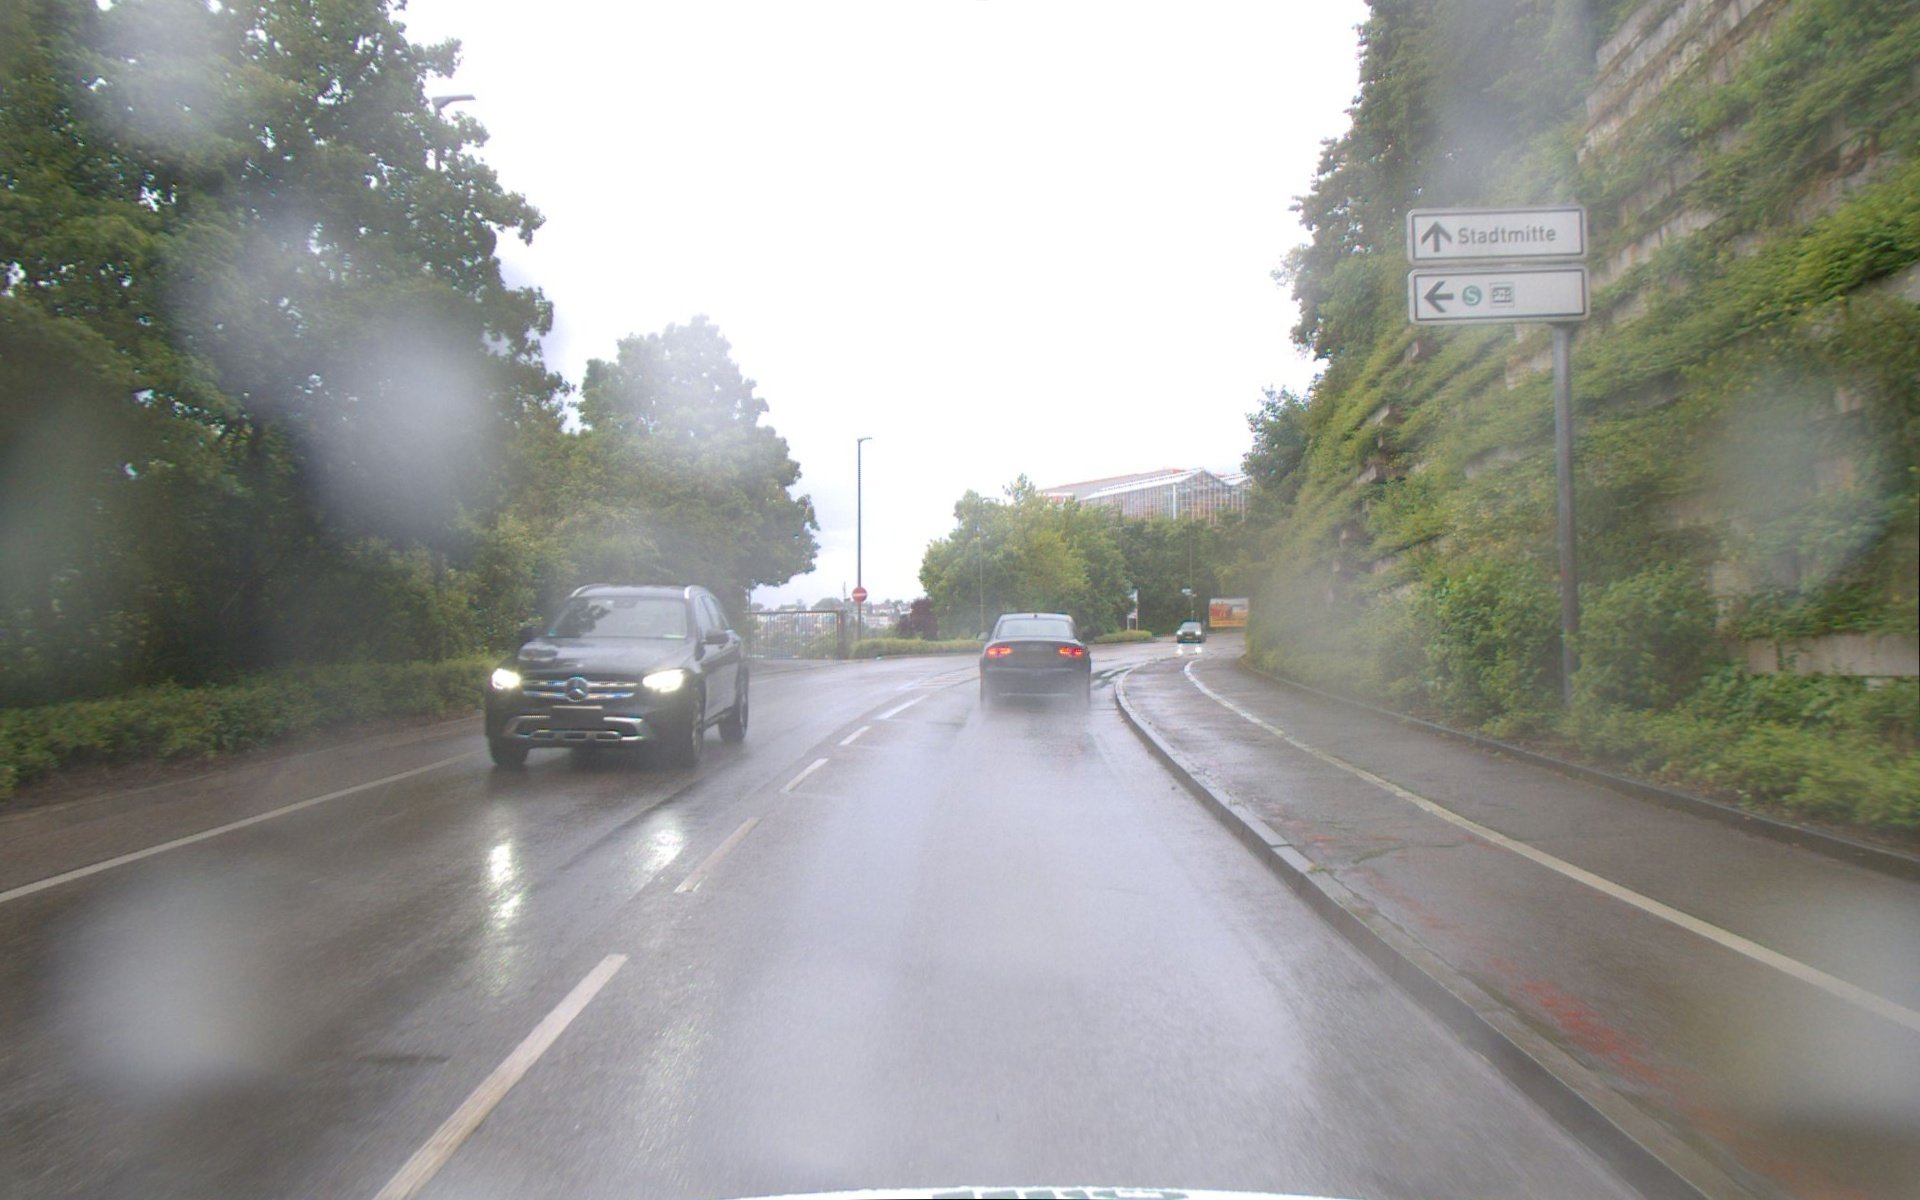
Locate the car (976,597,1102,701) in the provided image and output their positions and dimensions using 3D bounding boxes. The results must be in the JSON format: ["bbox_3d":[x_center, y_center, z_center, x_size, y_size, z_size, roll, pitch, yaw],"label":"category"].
[{"bbox_3d":[1.254,0.735,26.865,1.853,1.518,4.208,1,0,2],"label":"car"}]

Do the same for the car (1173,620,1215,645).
[{"bbox_3d":[17.098,2.335,120.652,1.954,1.771,3.997,-1,-1,25],"label":"car"}]

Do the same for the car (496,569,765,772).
[{"bbox_3d":[-3.116,0.604,16.532,1.793,1.736,4.333,1,0,0],"label":"car"}]
